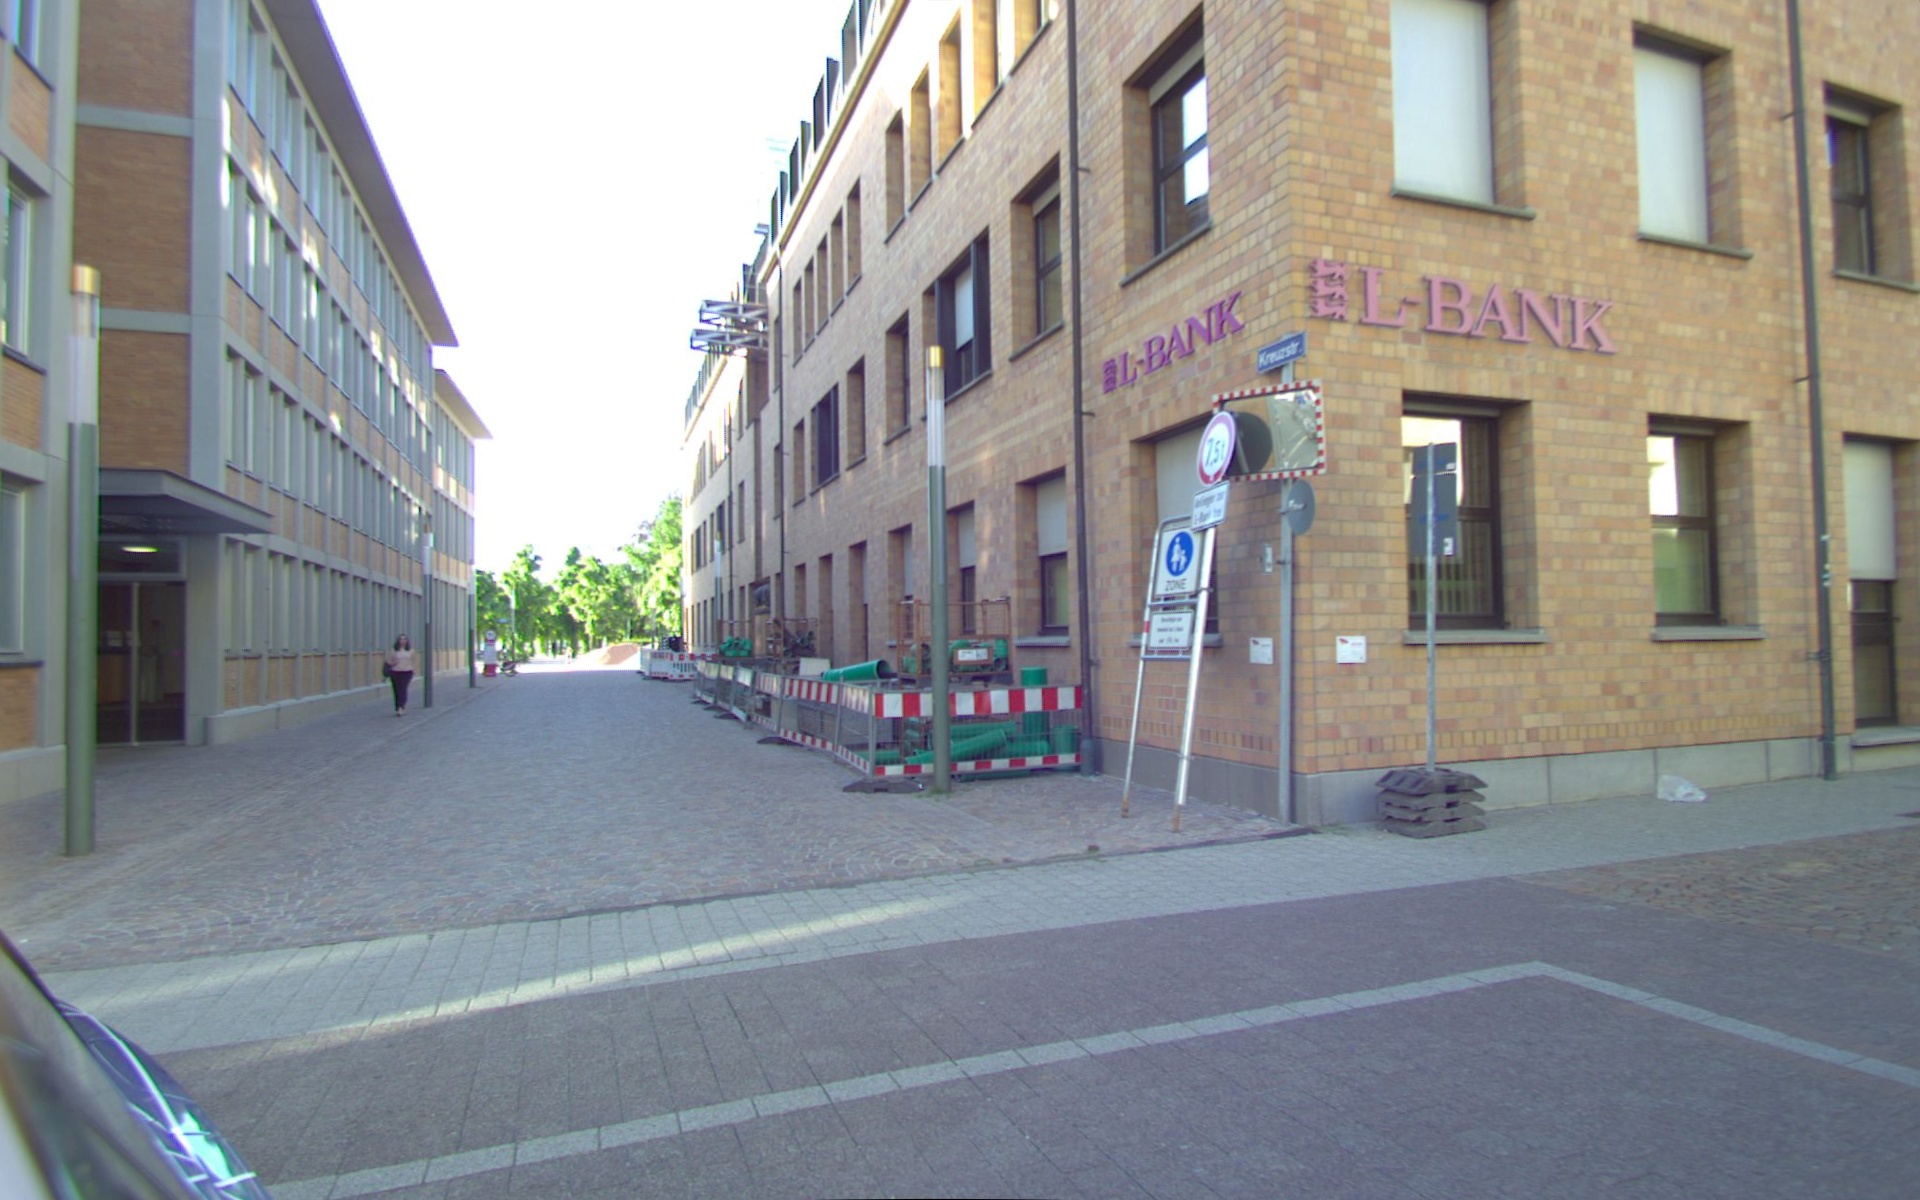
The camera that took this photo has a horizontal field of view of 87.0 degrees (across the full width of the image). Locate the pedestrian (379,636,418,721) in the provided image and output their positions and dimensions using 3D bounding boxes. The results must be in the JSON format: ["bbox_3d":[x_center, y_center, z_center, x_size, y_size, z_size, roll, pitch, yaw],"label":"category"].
[{"bbox_3d":[-12.197,1.702,22.011,0.627,1.799,0.654,0,-5,-21],"label":"pedestrian"}]
